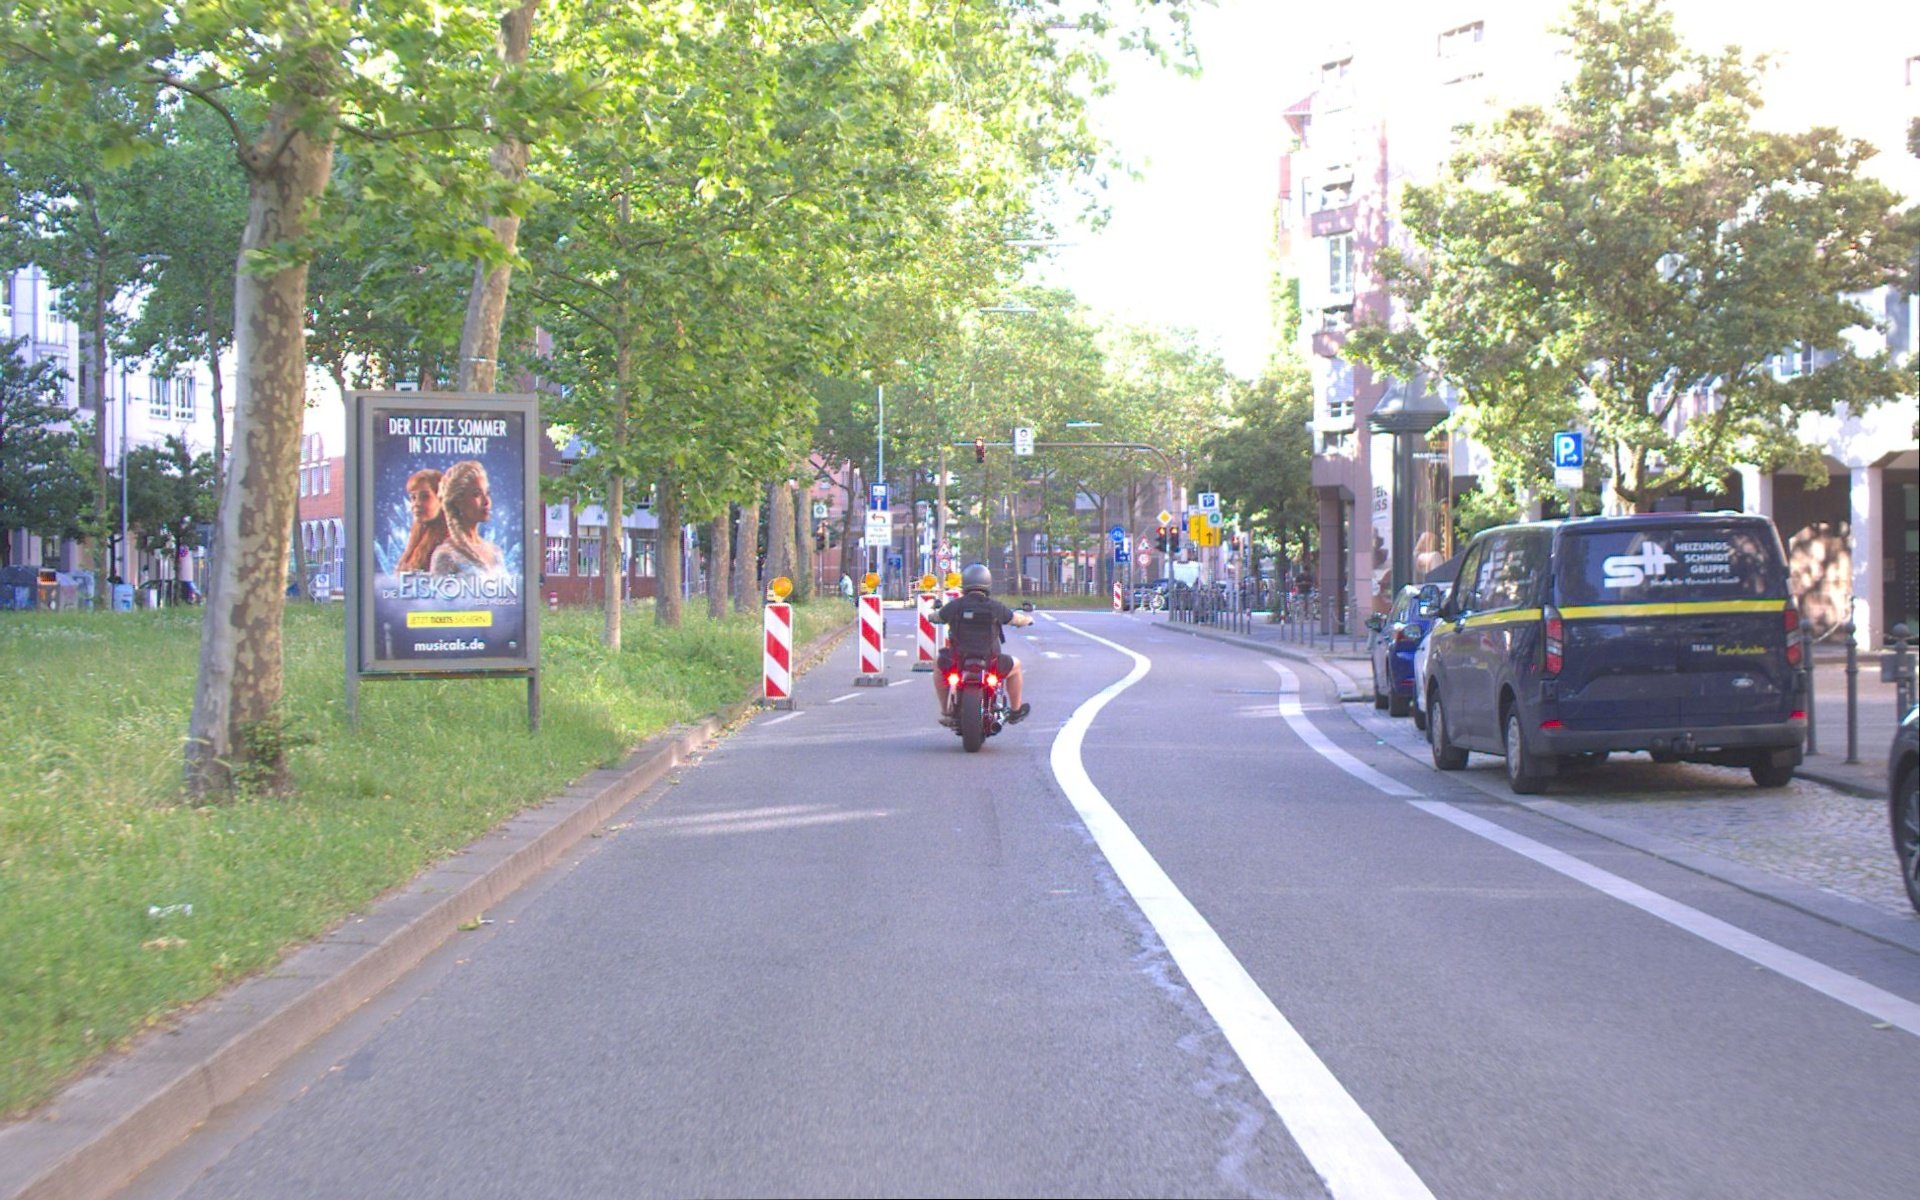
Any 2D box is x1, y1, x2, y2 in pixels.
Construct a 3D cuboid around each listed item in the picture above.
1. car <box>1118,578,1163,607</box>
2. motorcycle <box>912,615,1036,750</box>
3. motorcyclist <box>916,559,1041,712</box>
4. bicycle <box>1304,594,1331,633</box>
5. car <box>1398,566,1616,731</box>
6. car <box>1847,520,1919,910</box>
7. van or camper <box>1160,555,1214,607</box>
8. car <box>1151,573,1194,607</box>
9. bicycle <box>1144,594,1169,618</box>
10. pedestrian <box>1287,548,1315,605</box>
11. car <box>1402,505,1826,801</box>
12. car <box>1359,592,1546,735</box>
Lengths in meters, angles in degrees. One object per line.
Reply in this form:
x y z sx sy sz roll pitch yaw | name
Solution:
8.241 -0.320 156.654 1.621 1.298 4.310 0 0 9 | car
0.115 0.688 29.589 1.018 1.093 2.007 1 0 0 | motorcycle
0.155 0.301 29.612 1.011 1.258 0.774 2 0 -1 | motorcyclist
11.368 0.410 109.204 0.622 1.221 1.925 0 0 13 | bicycle
5.196 0.425 33.096 1.702 1.460 4.174 -1 0 4 | car
5.078 0.491 13.999 1.798 1.718 4.574 -2 0 1 | car
11.453 -0.934 172.990 2.050 2.532 5.770 0 0 10 | van or camper
10.308 -0.462 166.498 1.621 1.614 4.483 0 0 10 | car
8.532 0.263 149.483 0.737 1.049 1.752 0 0 -9 | bicycle
10.279 -0.717 103.721 0.781 1.732 0.836 0 1 9 | pedestrian
4.752 0.338 25.814 2.037 1.937 5.198 -2 0 -1 | car
5.480 0.669 38.647 1.702 1.478 4.248 -1 0 3 | car
